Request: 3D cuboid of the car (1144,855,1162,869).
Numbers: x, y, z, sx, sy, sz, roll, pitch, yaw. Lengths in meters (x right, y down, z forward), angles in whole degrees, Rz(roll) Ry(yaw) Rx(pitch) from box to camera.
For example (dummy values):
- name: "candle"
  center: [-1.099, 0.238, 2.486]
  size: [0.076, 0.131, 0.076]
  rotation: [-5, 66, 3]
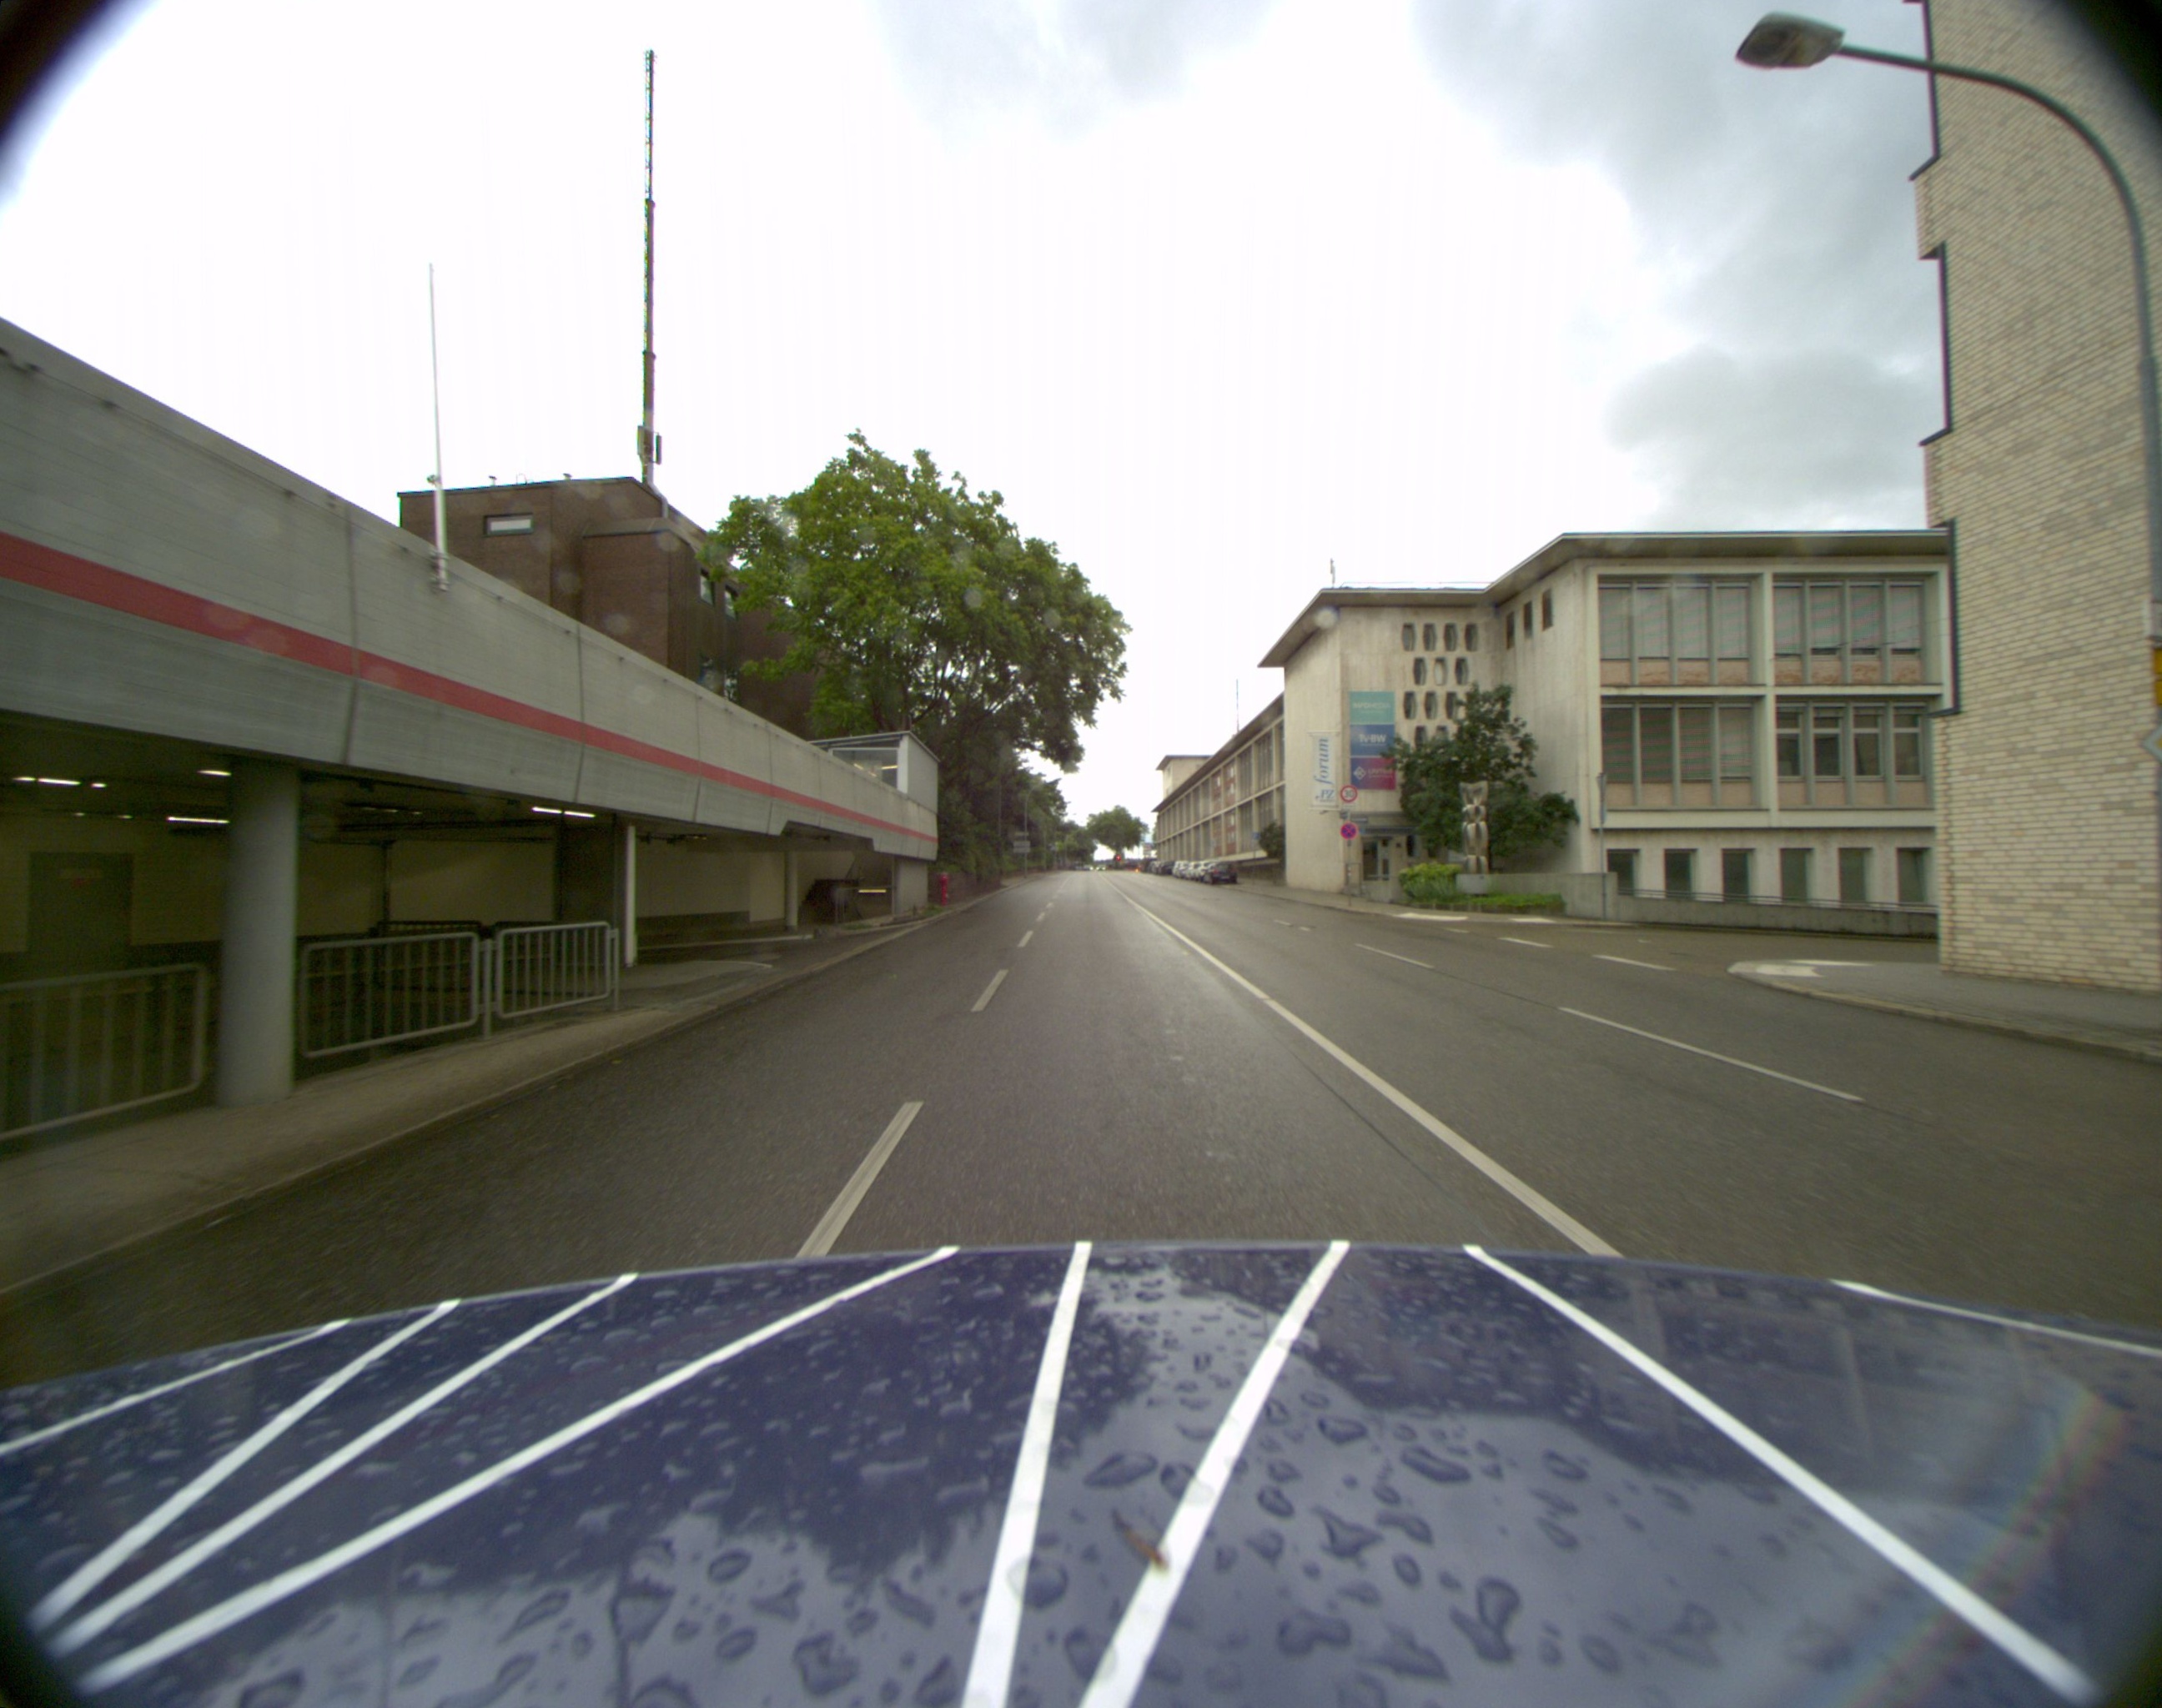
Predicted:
- name: "car"
  center: [9.785, 1.104, 103.413]
  size: [1.999, 1.637, 3.998]
  rotation: [-4, 2, -1]

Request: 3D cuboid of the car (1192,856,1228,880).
- name: "car"
  center: [9.677, 1.038, 57.210]
  size: [1.998, 1.632, 3.999]
  rotation: [-3, 1, 0]

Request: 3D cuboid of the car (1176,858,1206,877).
- name: "car"
  center: [9.761, 1.145, 67.728]
  size: [1.998, 1.482, 4.185]
  rotation: [-3, 1, 1]

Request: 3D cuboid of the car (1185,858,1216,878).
- name: "car"
  center: [9.784, 1.127, 62.363]
  size: [1.998, 1.503, 4.000]
  rotation: [-3, 1, 2]

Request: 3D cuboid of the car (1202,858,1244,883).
- name: "car"
  center: [9.643, 1.098, 51.871]
  size: [1.999, 1.520, 3.999]
  rotation: [-3, 1, -1]

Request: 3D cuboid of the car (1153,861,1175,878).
- name: "car"
  center: [9.562, 1.745, 88.057]
  size: [1.999, 1.724, 3.999]
  rotation: [-3, 1, -1]

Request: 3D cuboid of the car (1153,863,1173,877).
- name: "car"
  center: [10.192, 1.980, 95.025]
  size: [1.998, 1.569, 3.999]
  rotation: [-3, 1, 0]

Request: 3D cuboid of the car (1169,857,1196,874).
- name: "car"
  center: [9.880, 1.091, 73.903]
  size: [1.999, 1.521, 3.999]
  rotation: [-3, 1, -1]

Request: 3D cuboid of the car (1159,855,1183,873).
- name: "car"
  center: [9.736, 1.069, 82.241]
  size: [1.999, 1.701, 3.999]
  rotation: [-3, 1, 0]

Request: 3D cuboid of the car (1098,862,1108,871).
- name: "car"
  center: [5.051, 2.856, 173.334]
  size: [1.805, 2.002, 3.998]
  rotation: [-3, 1, -5]
